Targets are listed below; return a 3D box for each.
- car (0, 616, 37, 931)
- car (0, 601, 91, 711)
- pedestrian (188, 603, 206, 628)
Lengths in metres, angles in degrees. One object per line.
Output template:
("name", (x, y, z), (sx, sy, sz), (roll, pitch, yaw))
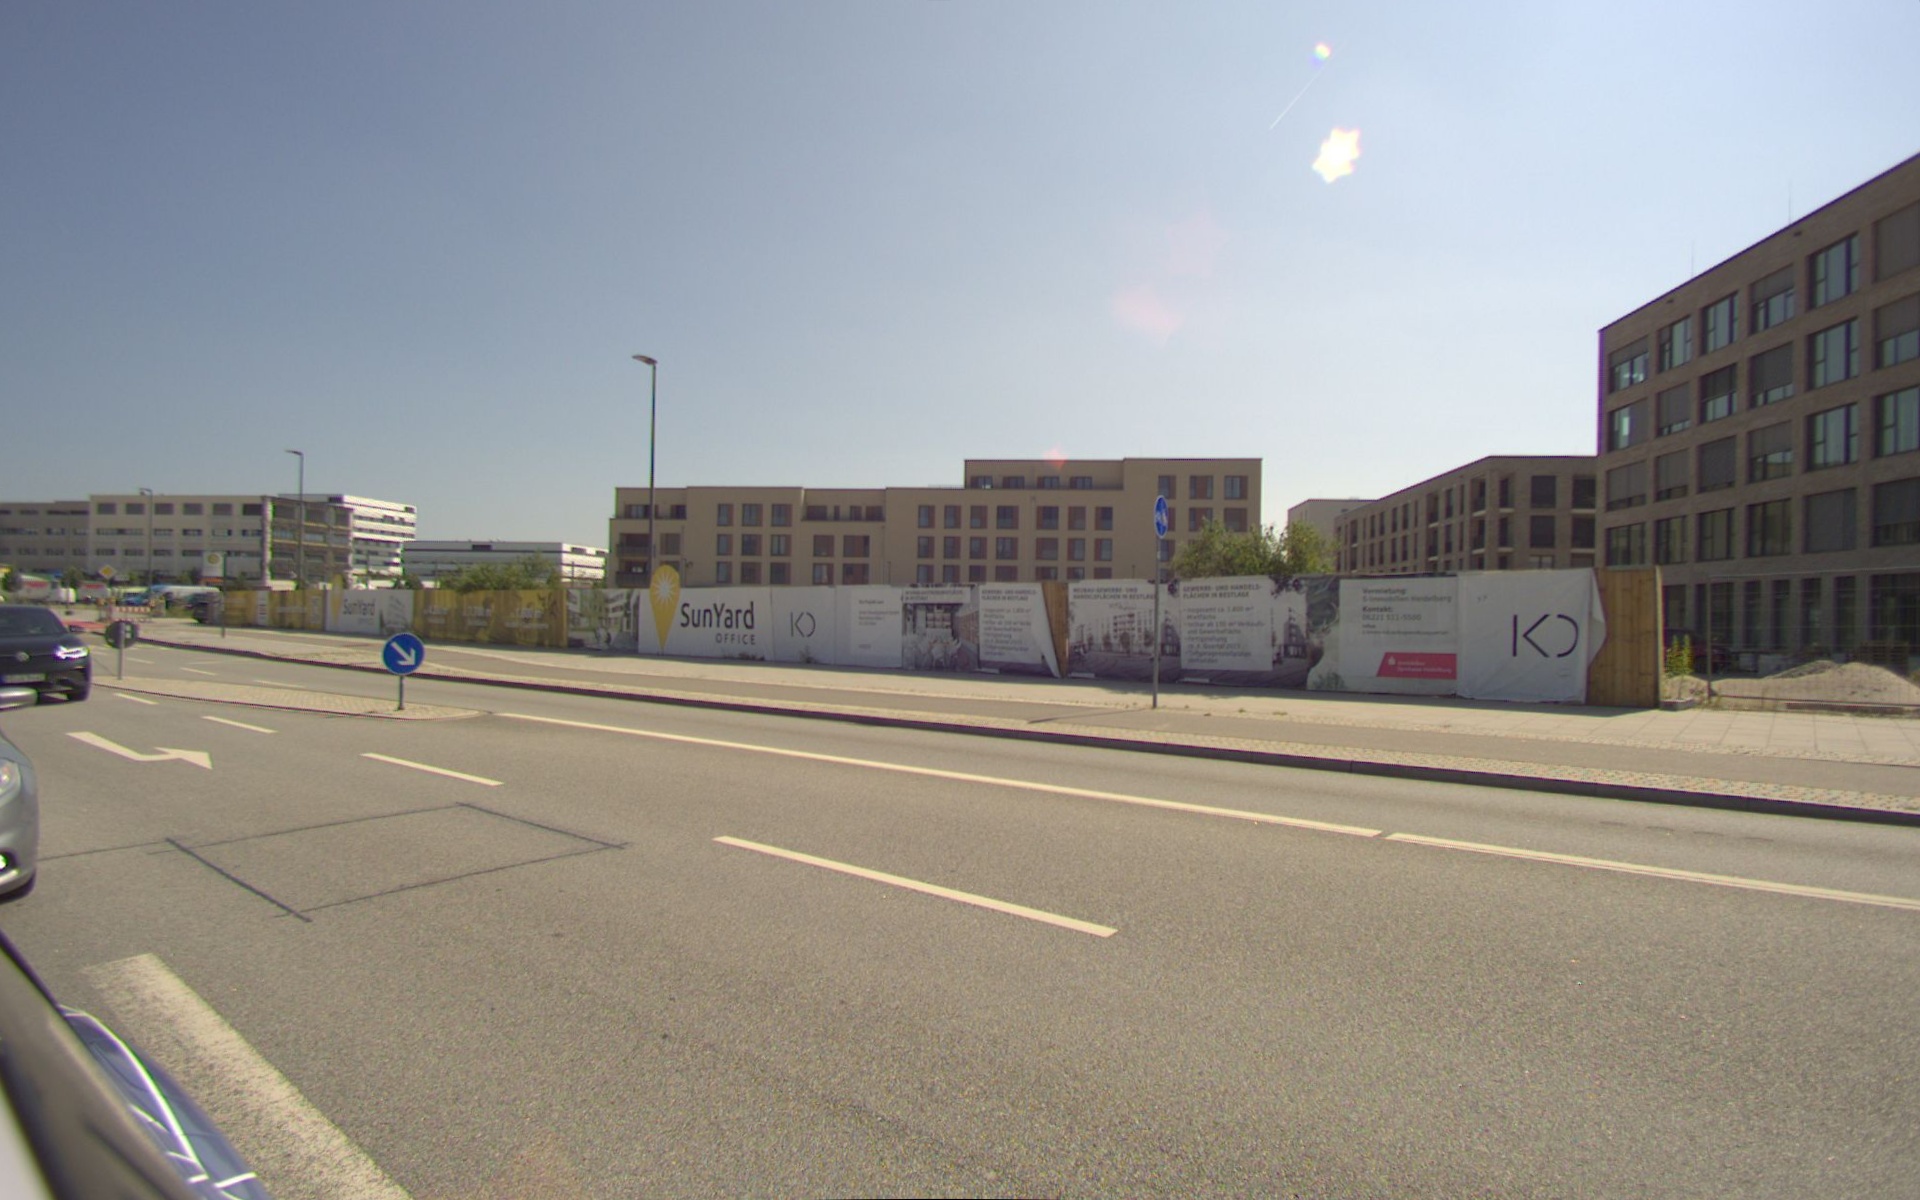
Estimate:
("car", (-6.293, 0.794, 5.261), (4.134, 1.390, 1.762), (-1, 0, 41))
("car", (-15.954, 0.863, 16.744), (4.364, 1.654, 1.783), (-1, 0, 41))
("pedestrian", (-49.056, 0.991, 65.073), (0.610, 1.598, 0.703), (-1, 0, 5))
